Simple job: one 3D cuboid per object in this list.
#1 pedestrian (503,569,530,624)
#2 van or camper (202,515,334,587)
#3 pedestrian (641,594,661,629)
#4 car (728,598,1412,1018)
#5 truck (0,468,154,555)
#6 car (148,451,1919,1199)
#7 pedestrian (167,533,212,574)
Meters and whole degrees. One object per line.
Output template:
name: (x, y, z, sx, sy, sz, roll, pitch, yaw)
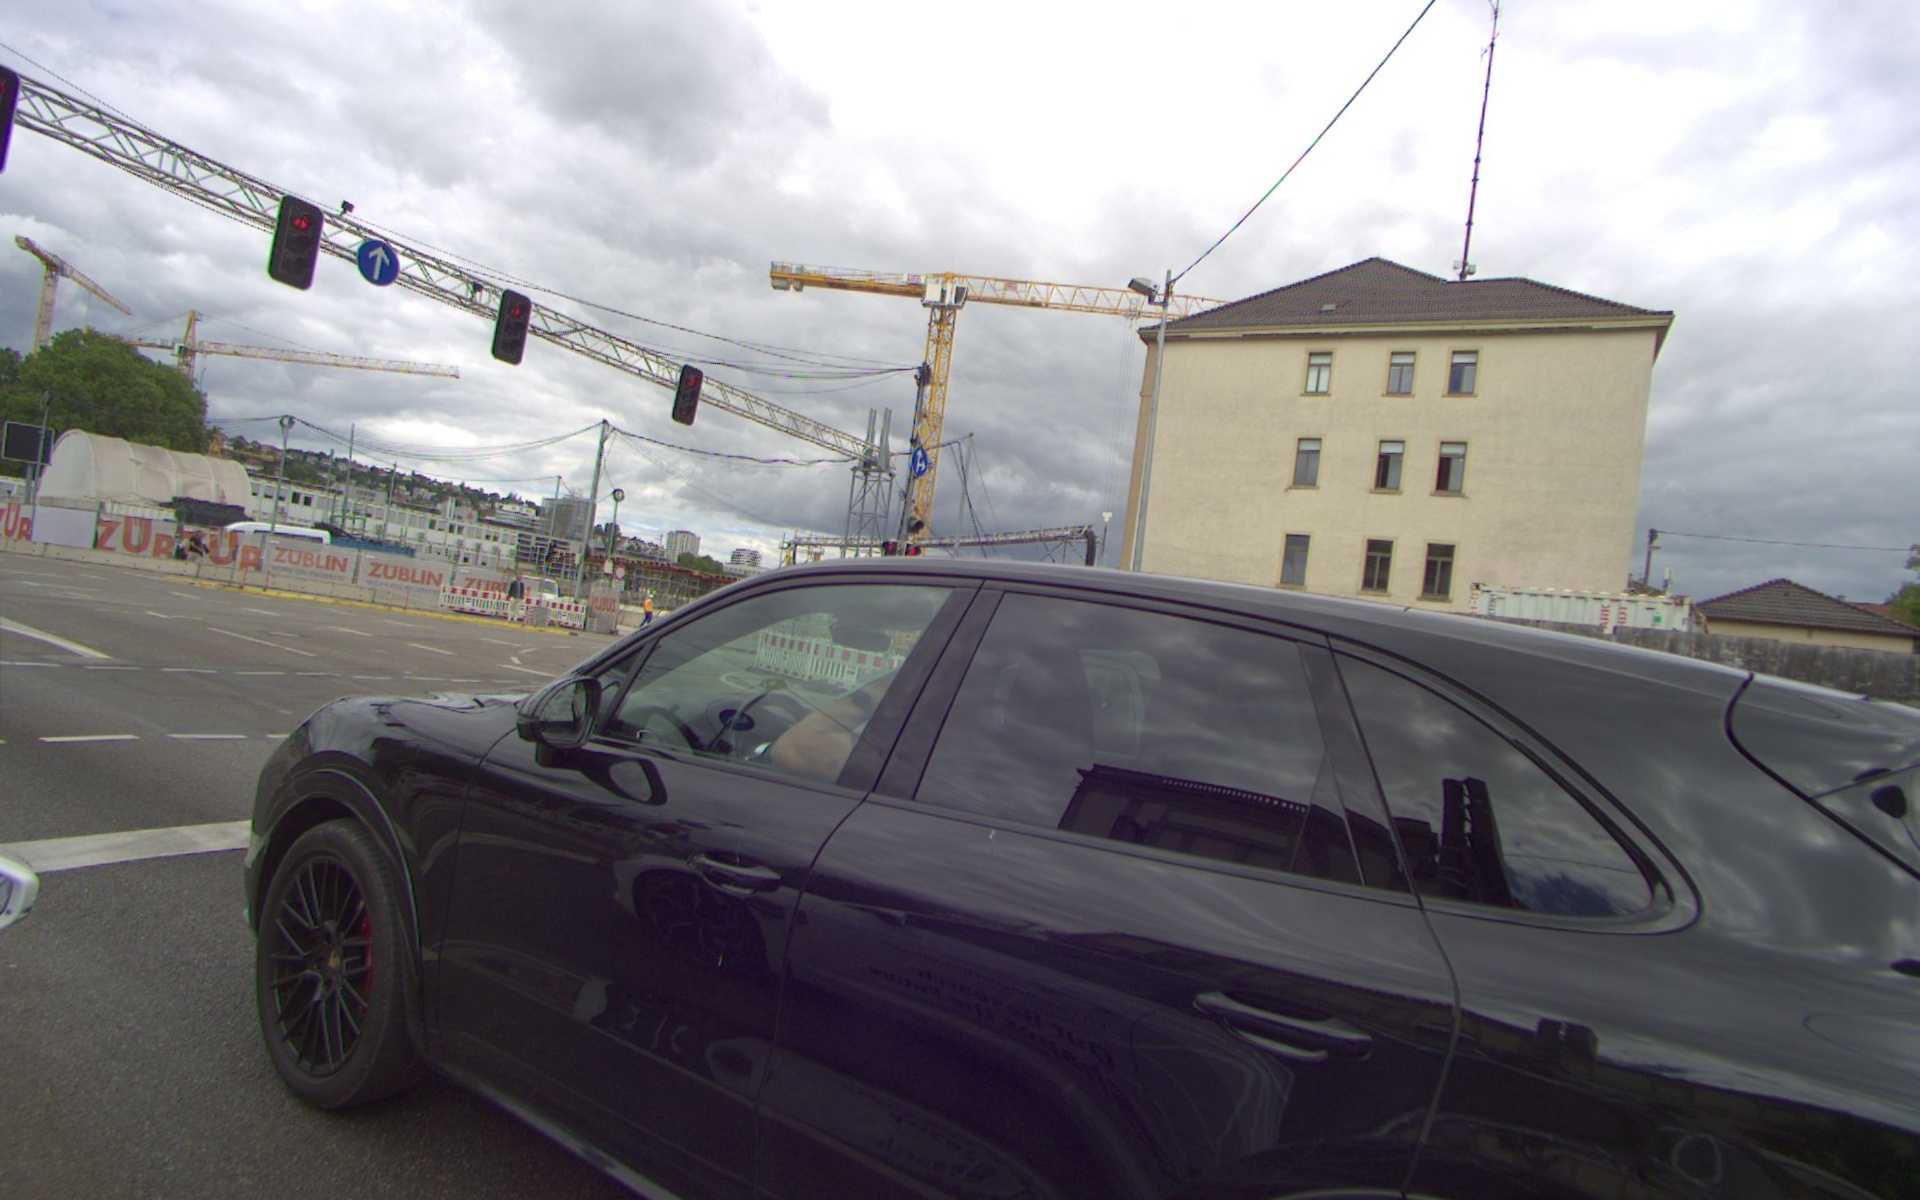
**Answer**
pedestrian: (-17.203, -0.121, 39.033, 0.647, 2.037, 0.513, 8, -1, -33)
van or camper: (-29.812, -2.072, 43.412, 4.204, 2.384, 1.976, 10, -3, -44)
pedestrian: (-16.543, 0.610, 53.784, 0.508, 1.737, 0.654, 7, -1, 21)
car: (0.586, 1.048, 6.369, 3.818, 1.561, 1.667, 7, -2, 33)
truck: (-57.898, -5.796, 61.934, 3.875, 4.086, 13.089, 8, -2, 12)
car: (0.030, 0.720, 2.693, 4.559, 1.705, 1.959, 7, -2, 33)
pedestrian: (-29.283, -1.753, 38.243, 0.888, 1.393, 0.799, 8, -1, -1)
